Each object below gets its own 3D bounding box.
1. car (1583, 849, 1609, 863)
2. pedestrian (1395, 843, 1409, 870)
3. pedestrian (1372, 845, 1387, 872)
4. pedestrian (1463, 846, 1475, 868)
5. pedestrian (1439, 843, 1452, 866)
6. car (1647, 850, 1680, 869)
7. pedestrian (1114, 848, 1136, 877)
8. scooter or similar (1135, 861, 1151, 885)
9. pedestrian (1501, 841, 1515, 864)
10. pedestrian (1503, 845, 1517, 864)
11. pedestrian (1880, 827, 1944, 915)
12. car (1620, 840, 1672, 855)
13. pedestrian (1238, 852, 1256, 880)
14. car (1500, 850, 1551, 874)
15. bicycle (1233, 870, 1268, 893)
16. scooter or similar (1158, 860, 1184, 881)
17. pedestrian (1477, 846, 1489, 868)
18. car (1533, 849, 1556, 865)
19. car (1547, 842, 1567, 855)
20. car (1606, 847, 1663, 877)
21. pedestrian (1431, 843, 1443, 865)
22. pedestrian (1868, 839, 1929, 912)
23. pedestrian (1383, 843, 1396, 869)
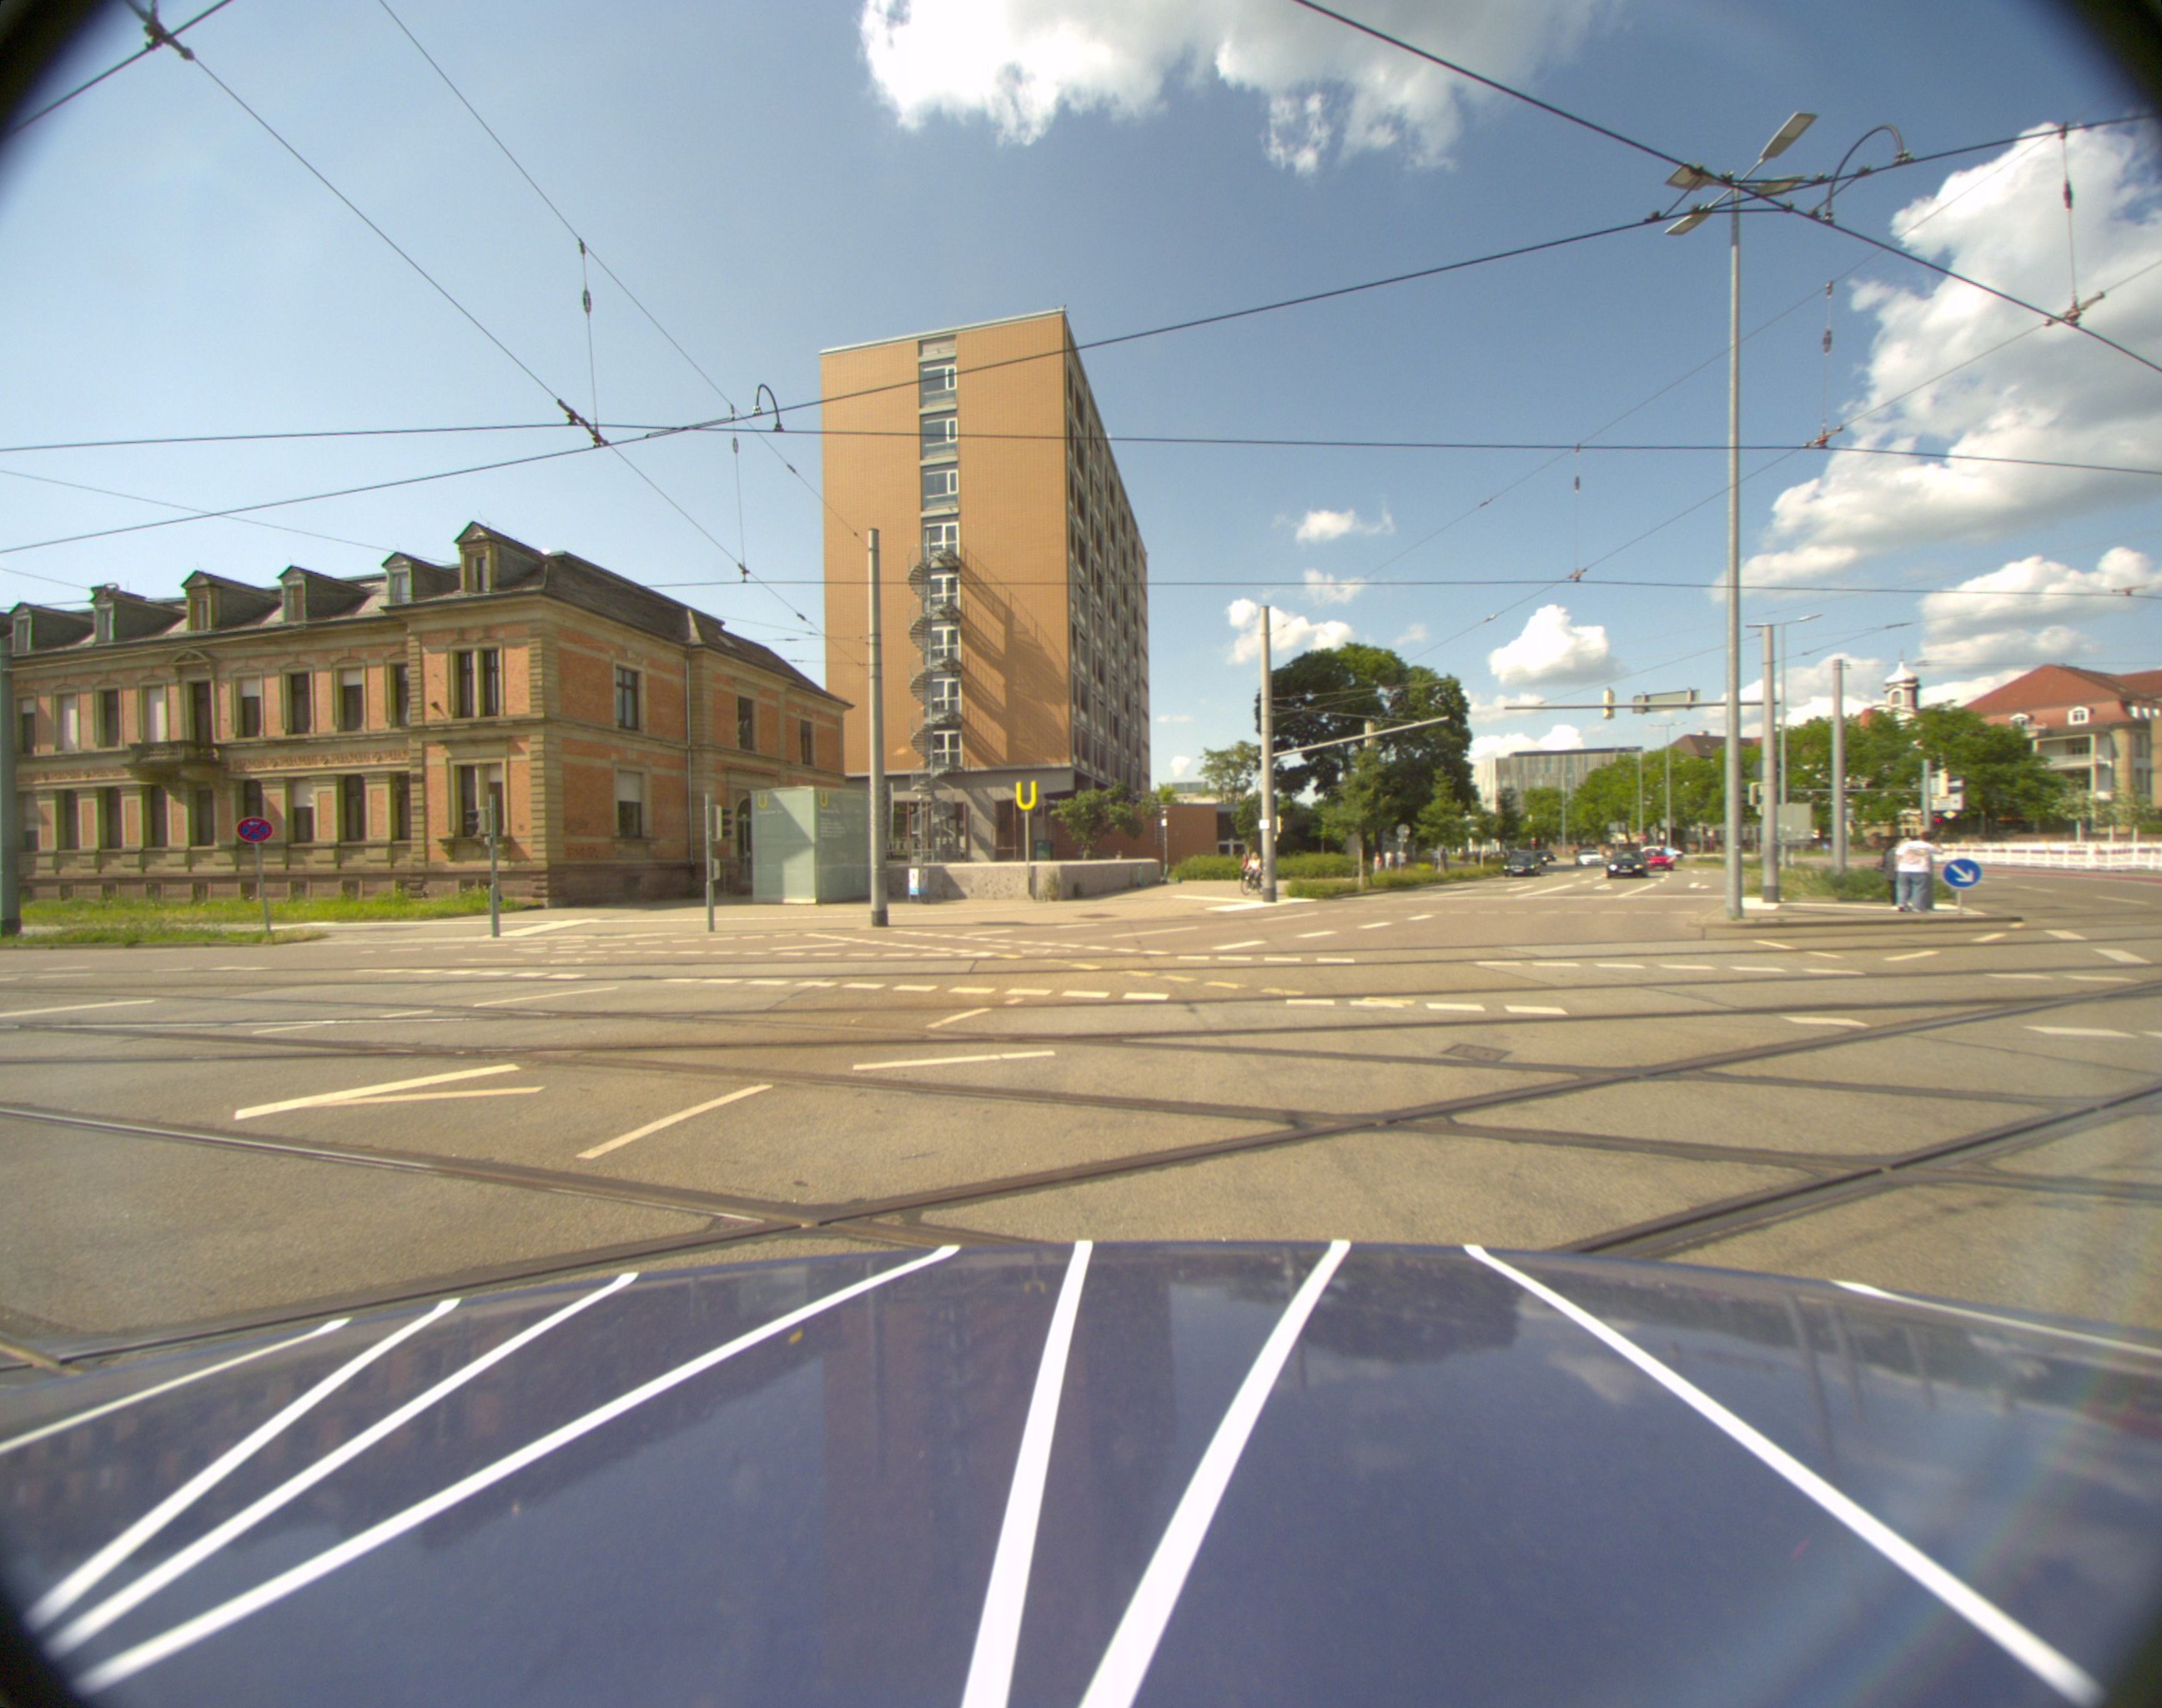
[{"bbox_3d":[46.827,0.149,69.150,1.905,1.127,4.110,-2,0,33],"label":"car"},{"bbox_3d":[21.130,0.160,50.016,0.614,1.691,0.891,2,3,32],"label":"pedestrian"},{"bbox_3d":[18.773,0.283,47.819,0.614,1.613,0.891,2,3,39],"label":"pedestrian"},{"bbox_3d":[31.148,0.242,60.977,0.766,1.724,0.720,-3,0,30],"label":"pedestrian"},{"bbox_3d":[28.960,0.013,60.349,0.742,1.744,0.891,2,3,32],"label":"pedestrian"},{"bbox_3d":[38.473,0.338,50.152,1.594,1.127,3.636,-2,0,40],"label":"car"},{"bbox_3d":[2.480,0.491,43.177,1.097,1.613,0.615,0,3,-15],"label":"pedestrian"},{"bbox_3d":[3.065,0.917,37.363,0.465,1.111,1.449,0,1,18],"label":"scooter or similar"},{"bbox_3d":[38.367,-0.132,68.237,0.963,2.002,0.770,-3,0,36],"label":"pedestrian"},{"bbox_3d":[39.765,0.040,70.433,0.926,1.724,0.770,-3,0,36],"label":"pedestrian"},{"bbox_3d":[18.444,0.359,16.892,0.848,1.906,0.694,0,2,38],"label":"pedestrian"},{"bbox_3d":[58.671,-0.651,78.983,1.781,1.346,3.994,-3,0,-19],"label":"car"},{"bbox_3d":[9.739,0.696,44.510,0.889,1.613,0.615,0,3,1],"label":"pedestrian"},{"bbox_3d":[28.854,0.496,49.272,1.822,1.454,4.008,-2,0,45],"label":"car"},{"bbox_3d":[7.142,1.145,31.981,0.647,0.875,1.826,-1,0,41],"label":"bicycle"},{"bbox_3d":[4.754,0.856,40.174,1.318,1.098,0.465,0,1,-8],"label":"scooter or similar"},{"bbox_3d":[32.188,0.250,60.798,0.766,1.724,0.720,-3,0,30],"label":"pedestrian"},{"bbox_3d":[46.685,0.285,76.504,1.822,1.454,4.008,-2,0,33],"label":"car"},{"bbox_3d":[59.040,-0.691,94.294,1.905,1.426,4.110,-2,0,30],"label":"car"},{"bbox_3d":[29.423,0.399,40.364,1.822,1.454,4.008,-2,0,45],"label":"car"},{"bbox_3d":[28.529,-0.019,60.871,0.742,1.737,0.891,2,3,32],"label":"pedestrian"},{"bbox_3d":[18.845,0.481,17.530,0.848,1.638,0.694,0,2,38],"label":"pedestrian"},{"bbox_3d":[20.466,0.144,50.451,0.614,1.691,0.891,2,3,32],"label":"pedestrian"}]
